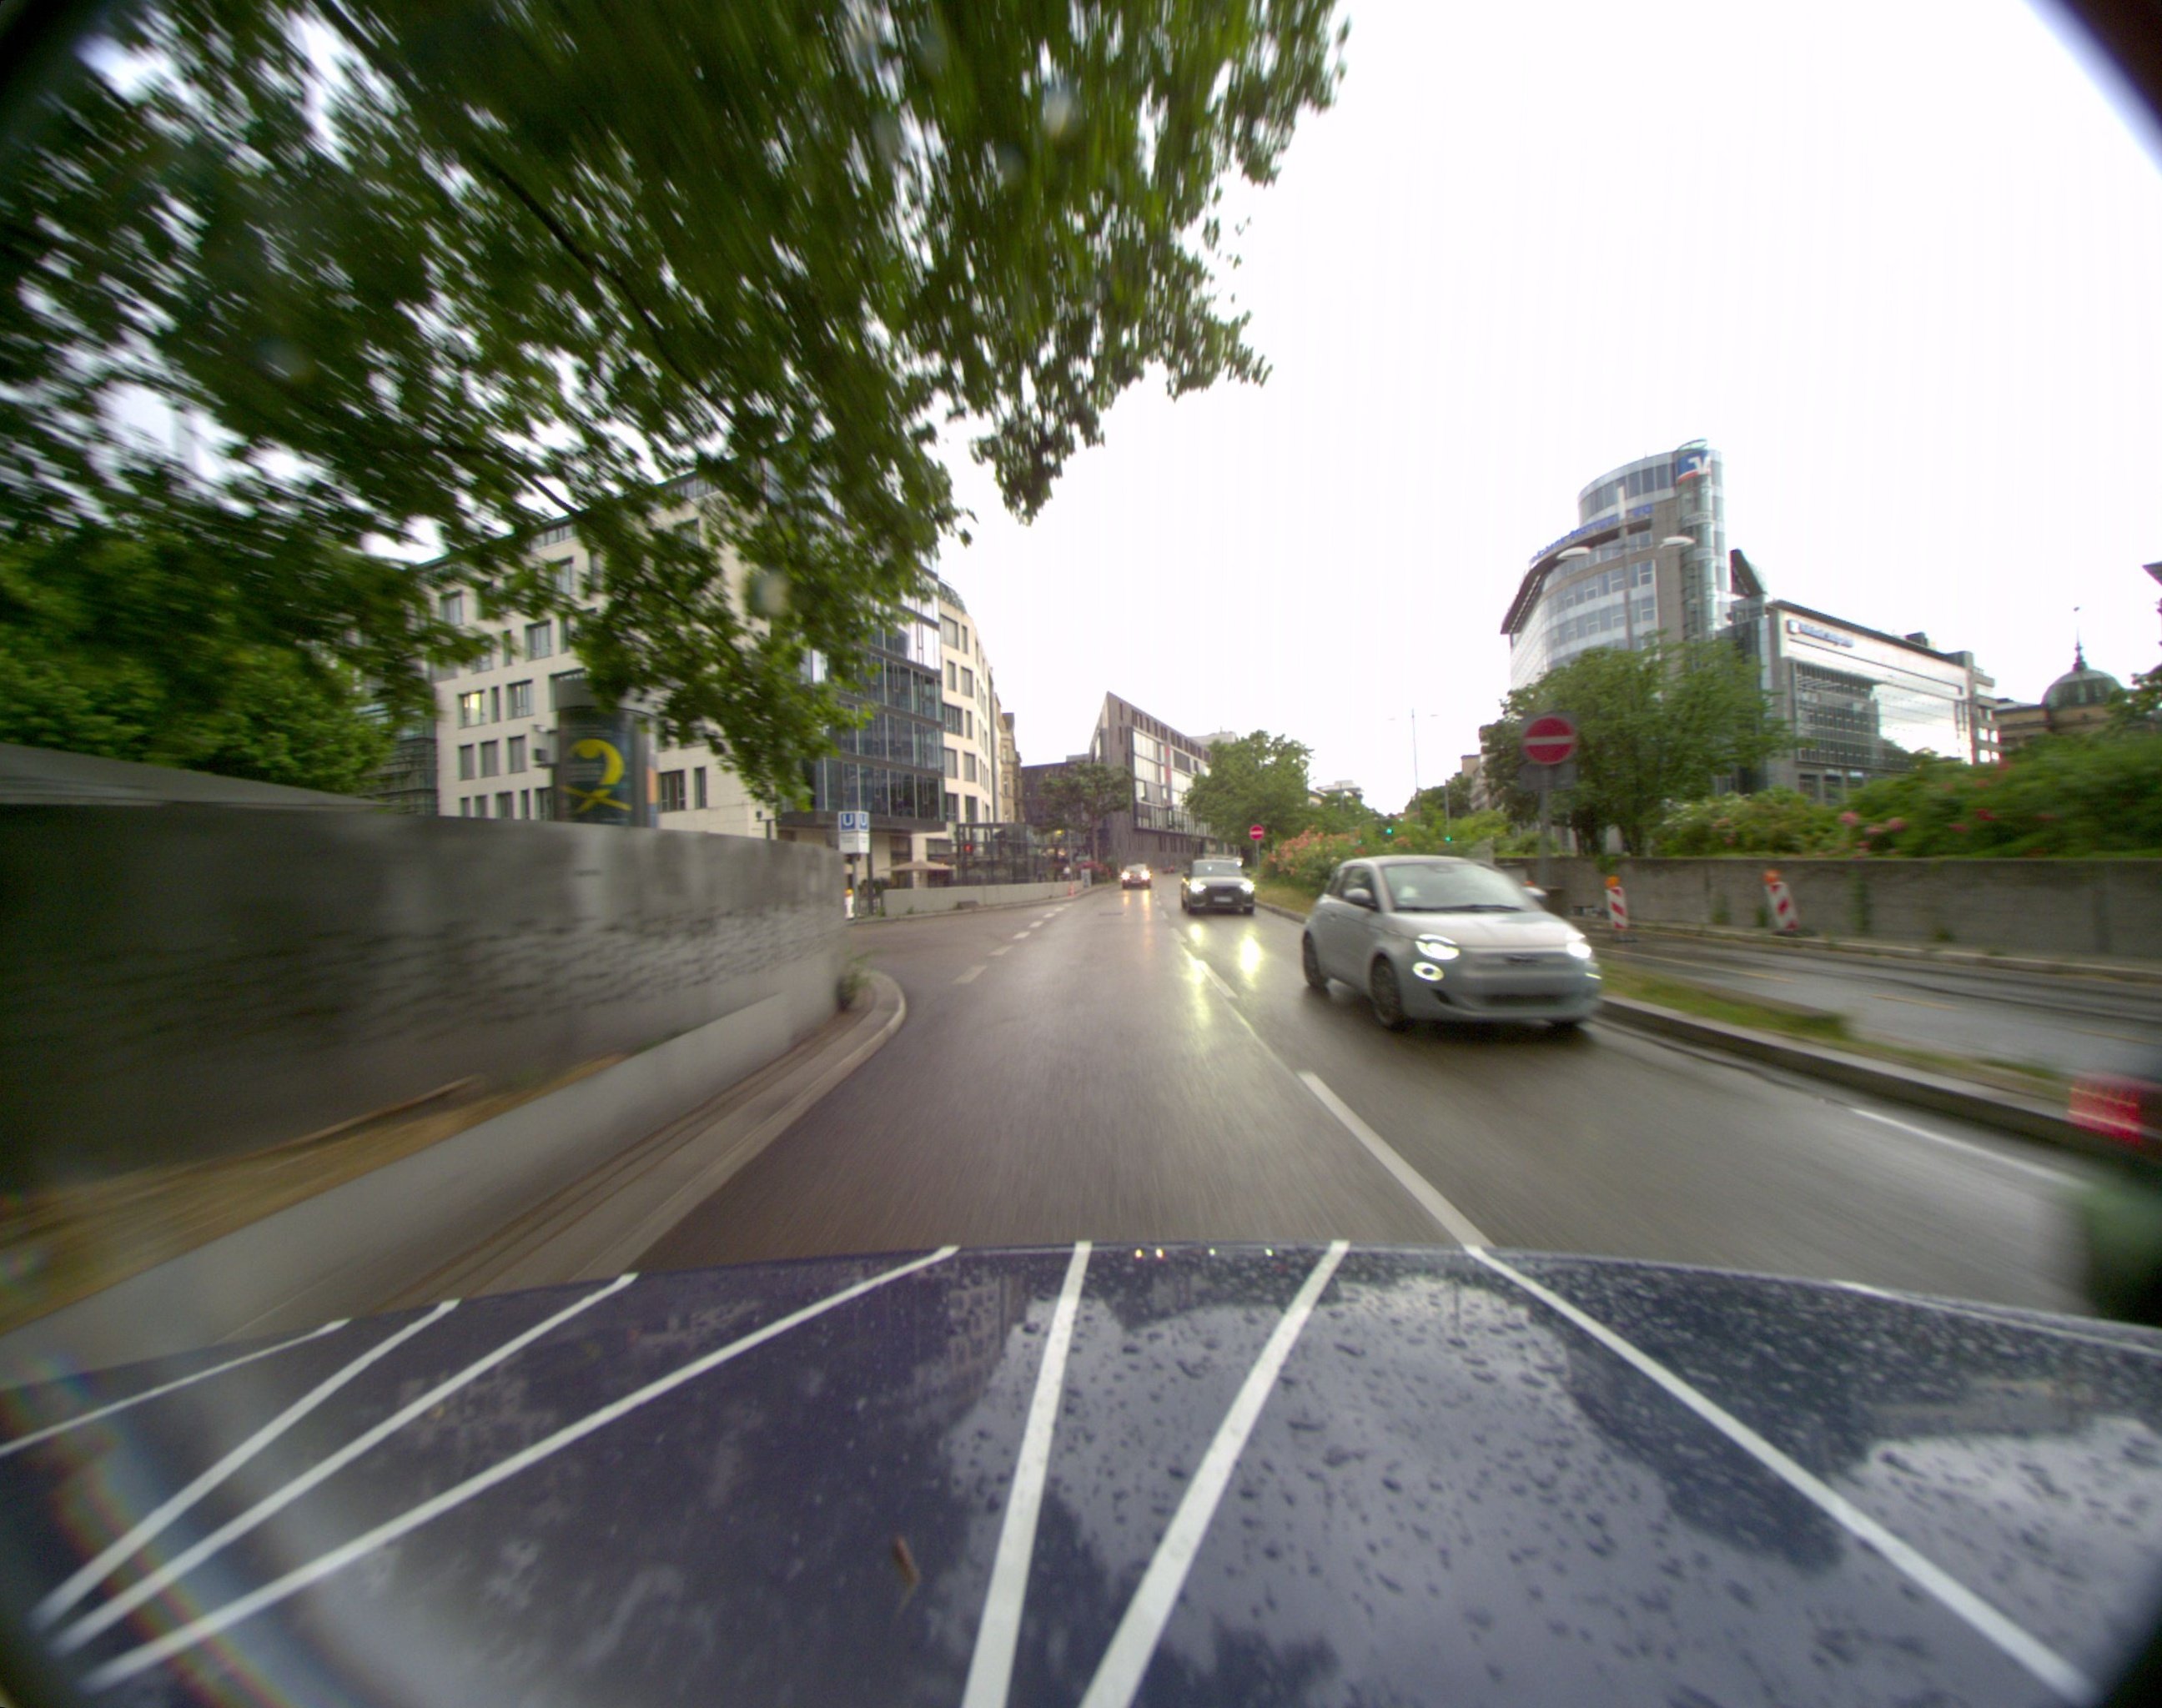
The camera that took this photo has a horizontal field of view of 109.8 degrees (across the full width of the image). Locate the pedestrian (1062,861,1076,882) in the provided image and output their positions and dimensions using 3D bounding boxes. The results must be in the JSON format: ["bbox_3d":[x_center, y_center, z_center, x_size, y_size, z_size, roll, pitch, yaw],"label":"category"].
[{"bbox_3d":[-1.123,1.634,71.423,0.873,1.827,1.250,-5,0,10],"label":"pedestrian"}]

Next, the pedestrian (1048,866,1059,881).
[{"bbox_3d":[-2.462,1.756,68.089,0.774,1.318,0.636,-5,0,20],"label":"pedestrian"}]

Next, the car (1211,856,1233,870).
[{"bbox_3d":[16.592,1.070,89.211,1.796,1.501,4.506,-3,0,20],"label":"car"}]

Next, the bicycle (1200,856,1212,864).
[{"bbox_3d":[19.049,0.876,115.730,1.536,1.134,0.663,-3,1,18],"label":"bicycle"}]

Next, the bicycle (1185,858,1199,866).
[{"bbox_3d":[15.917,1.139,109.233,1.796,1.062,0.557,-4,1,20],"label":"bicycle"}]

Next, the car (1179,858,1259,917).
[{"bbox_3d":[4.022,0.937,22.831,1.865,1.508,4.347,-3,0,4],"label":"car"}]

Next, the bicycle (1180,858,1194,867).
[{"bbox_3d":[14.955,1.188,107.679,1.796,1.101,0.671,-4,1,19],"label":"bicycle"}]

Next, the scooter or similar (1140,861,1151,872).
[{"bbox_3d":[7.406,1.442,87.695,0.778,1.298,1.337,-2,0,28],"label":"scooter or similar"}]

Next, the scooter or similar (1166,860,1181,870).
[{"bbox_3d":[12.288,1.427,101.265,1.794,1.236,0.597,-4,1,19],"label":"scooter or similar"}]

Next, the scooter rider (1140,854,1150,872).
[{"bbox_3d":[7.354,1.045,87.616,0.778,2.009,0.925,-2,0,28],"label":"scooter rider"}]

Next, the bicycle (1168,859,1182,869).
[{"bbox_3d":[12.792,1.360,103.602,1.796,1.101,0.671,-4,1,19],"label":"bicycle"}]

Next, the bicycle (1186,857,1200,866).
[{"bbox_3d":[16.167,1.103,109.874,1.796,1.062,0.557,-4,1,20],"label":"bicycle"}]

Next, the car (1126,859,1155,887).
[{"bbox_3d":[3.500,1.096,44.886,1.594,1.501,3.710,-3,0,4],"label":"car"}]

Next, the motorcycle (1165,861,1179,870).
[{"bbox_3d":[12.045,1.498,100.574,1.794,1.133,0.597,-4,1,19],"label":"motorcycle"}]

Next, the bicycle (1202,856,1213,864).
[{"bbox_3d":[19.351,0.854,116.477,1.536,1.134,0.690,-3,1,18],"label":"bicycle"}]

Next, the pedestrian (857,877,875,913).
[{"bbox_3d":[-11.695,2.208,41.315,0.643,1.883,0.584,-3,1,-40],"label":"pedestrian"}]

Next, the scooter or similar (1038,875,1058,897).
[{"bbox_3d":[-1.968,1.919,45.487,1.093,1.264,0.481,-3,0,-4],"label":"scooter or similar"}]

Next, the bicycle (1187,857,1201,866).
[{"bbox_3d":[16.457,1.077,110.585,1.796,1.062,0.557,-4,1,20],"label":"bicycle"}]

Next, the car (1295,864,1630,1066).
[{"bbox_3d":[3.383,0.870,7.511,1.594,1.482,3.505,-1,0,1],"label":"car"}]

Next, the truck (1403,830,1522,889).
[{"bbox_3d":[18.571,0.225,37.704,3.372,2.495,8.484,-2,0,14],"label":"truck"}]
